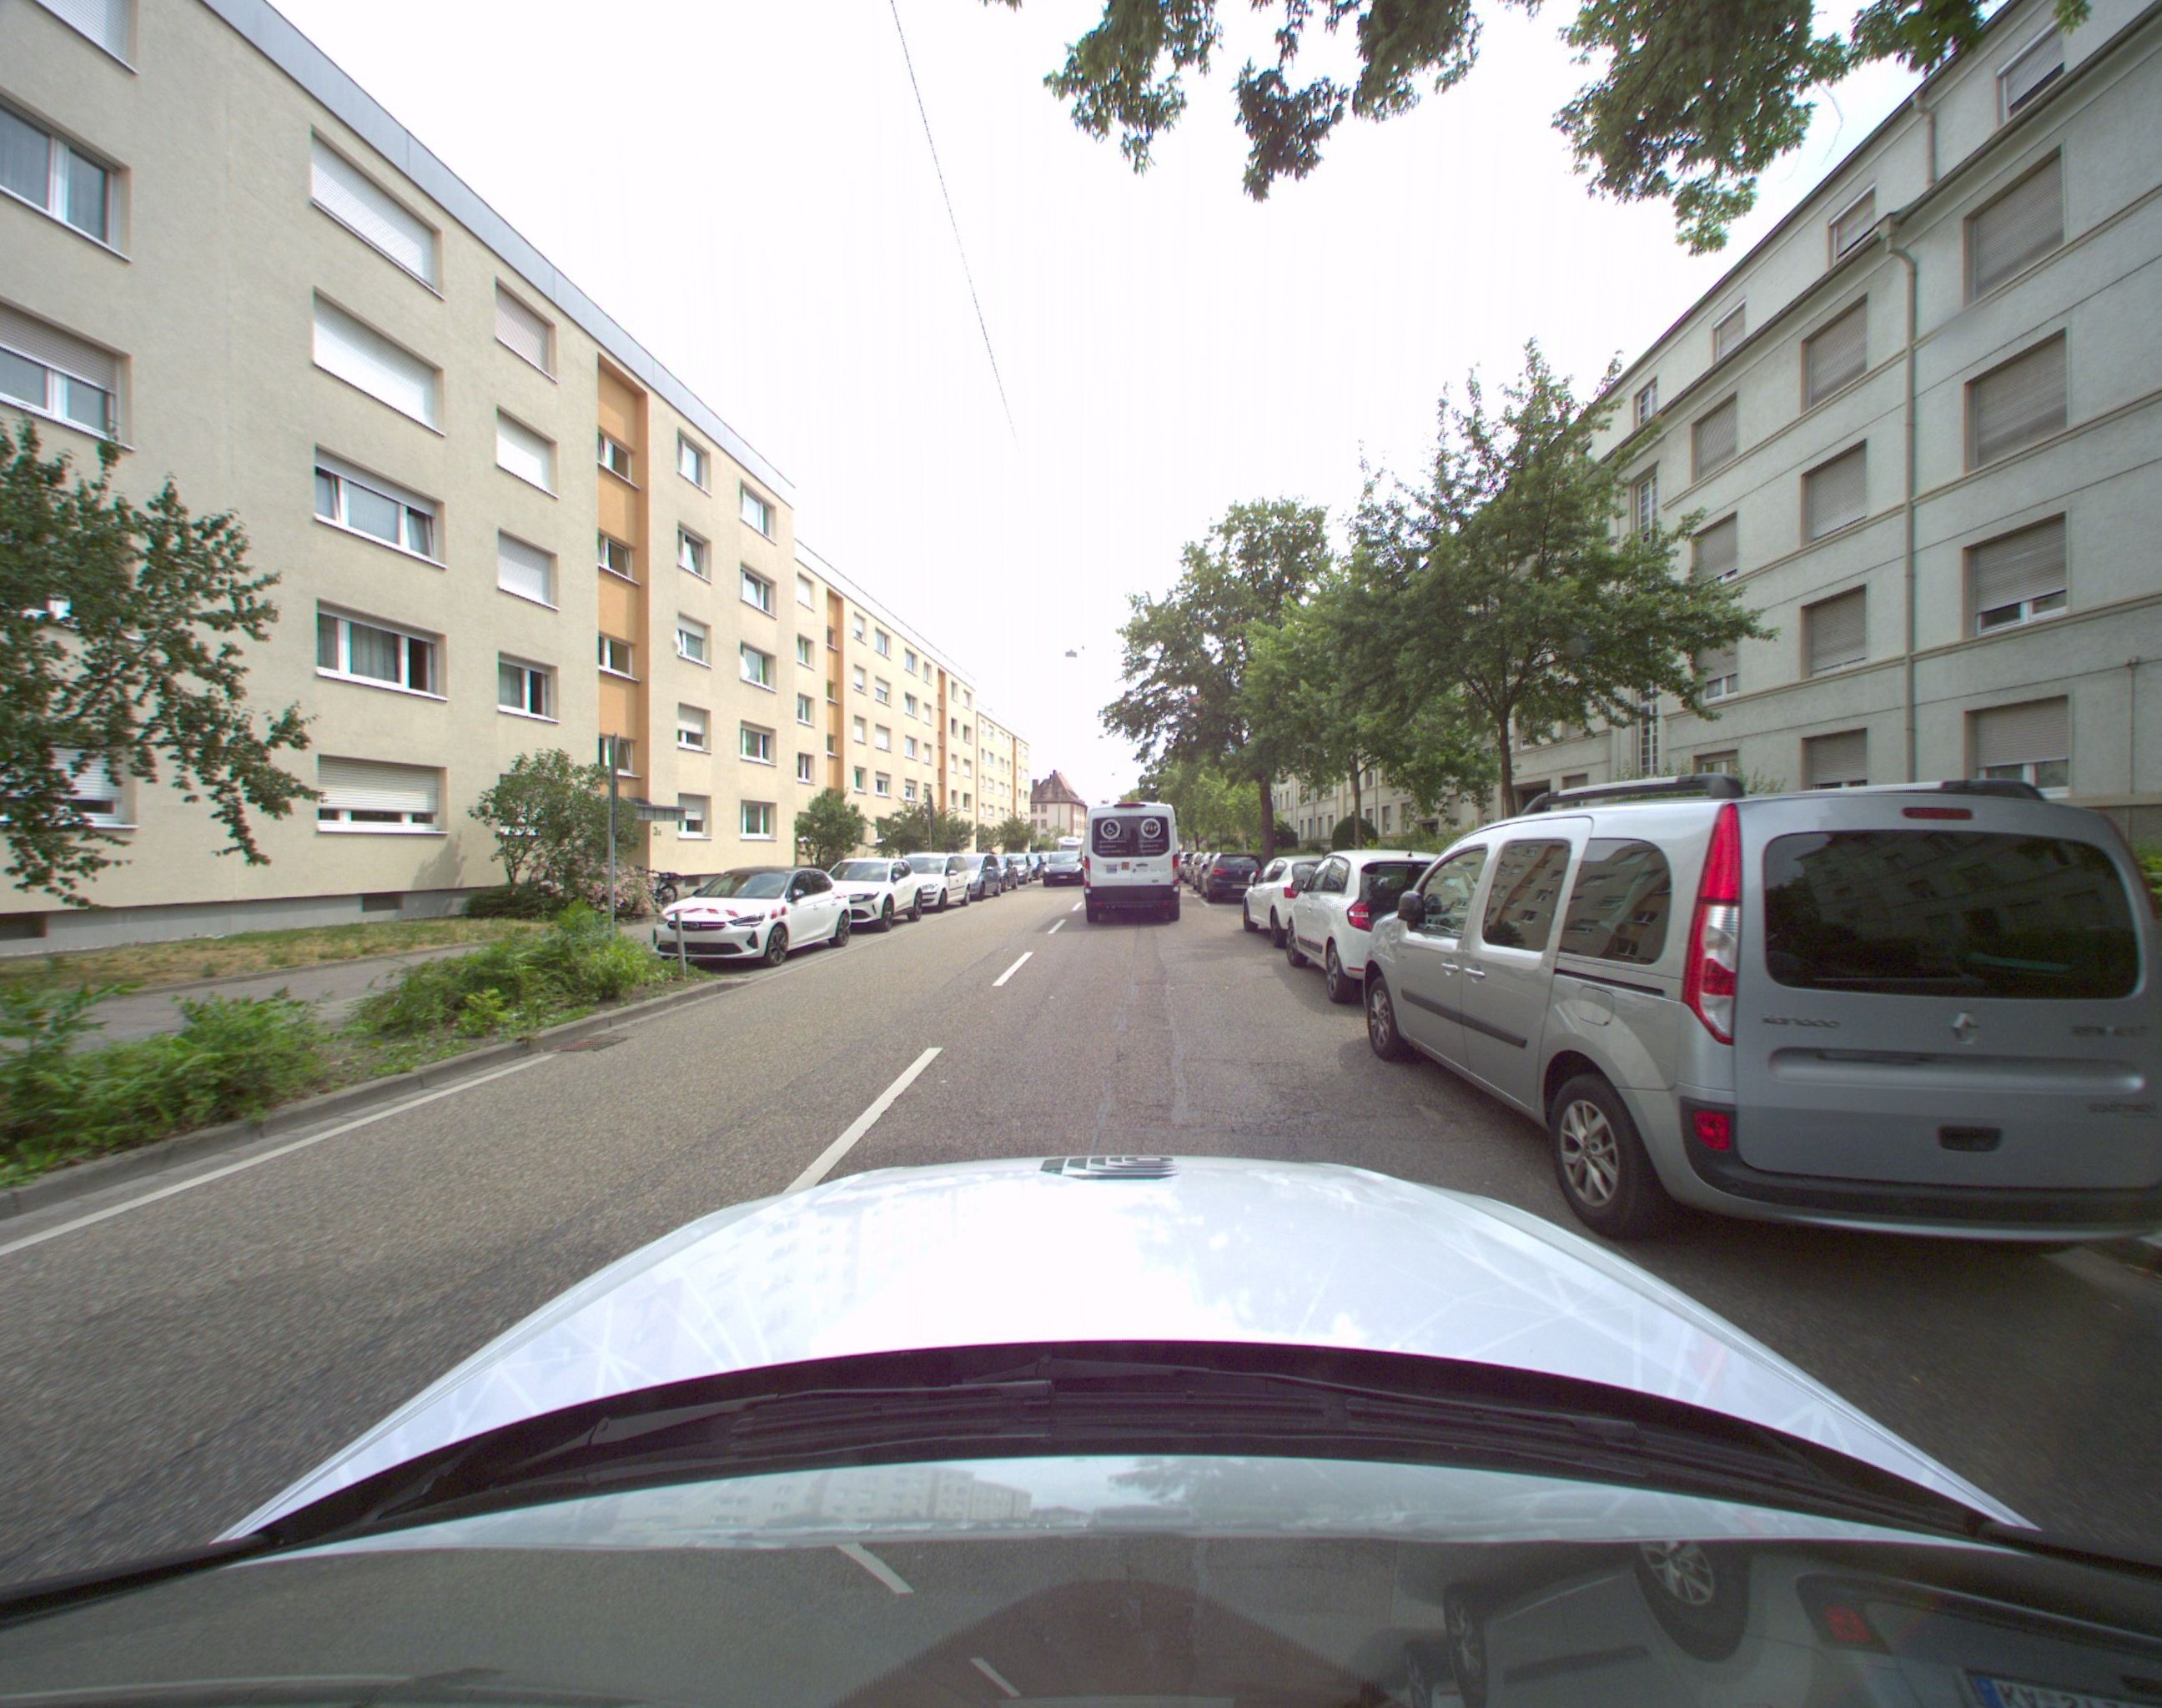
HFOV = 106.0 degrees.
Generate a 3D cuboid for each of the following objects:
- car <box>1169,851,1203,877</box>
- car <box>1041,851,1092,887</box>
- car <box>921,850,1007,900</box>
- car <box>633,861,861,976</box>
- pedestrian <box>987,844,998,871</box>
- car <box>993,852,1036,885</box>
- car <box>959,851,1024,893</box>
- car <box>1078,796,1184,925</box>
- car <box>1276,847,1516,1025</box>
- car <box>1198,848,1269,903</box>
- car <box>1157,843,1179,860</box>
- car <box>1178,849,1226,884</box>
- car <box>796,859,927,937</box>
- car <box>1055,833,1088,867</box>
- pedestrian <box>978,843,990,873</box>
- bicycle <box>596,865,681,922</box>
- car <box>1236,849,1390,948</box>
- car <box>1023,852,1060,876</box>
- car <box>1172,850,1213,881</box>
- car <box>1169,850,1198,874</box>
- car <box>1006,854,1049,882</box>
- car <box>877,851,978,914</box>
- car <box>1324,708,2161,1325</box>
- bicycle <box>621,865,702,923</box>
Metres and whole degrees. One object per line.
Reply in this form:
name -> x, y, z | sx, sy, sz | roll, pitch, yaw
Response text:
car -> 6.150, 0.572, 48.049 | 1.663, 1.400, 3.855 | 2, 1, 3
car -> -0.623, 0.654, 38.615 | 1.942, 1.521, 4.619 | -3, 0, 4
car -> -4.088, 0.671, 29.401 | 1.933, 1.612, 4.869 | 1, 1, 5
car -> -5.140, 0.897, 13.180 | 1.700, 1.473, 3.995 | 1, 1, 5
pedestrian -> -6.026, 0.241, 55.514 | 0.617, 1.813, 0.804 | -1, 0, 1
car -> -3.376, 0.720, 41.941 | 1.663, 1.561, 3.855 | 1, 1, 3
car -> -3.726, 0.690, 34.592 | 1.933, 1.612, 4.307 | 1, 1, 4
car -> 1.095, 0.123, 18.654 | 2.062, 2.540, 4.637 | -1, 0, 2
car -> 3.380, 0.745, 9.485 | 1.597, 1.607, 3.810 | 1, 1, 5
car -> 4.501, 0.567, 24.535 | 1.689, 1.469, 4.106 | 1, 1, 5
car -> 9.425, -0.280, 88.602 | 1.920, 1.661, 5.327 | 2, 1, 2
car -> 5.488, 0.525, 37.380 | 1.690, 1.469, 4.757 | 1, 1, 3
car -> -4.810, 0.894, 18.428 | 1.702, 1.473, 3.991 | 1, 1, 2
car -> -0.799, -0.403, 76.388 | 2.500, 3.024, 7.403 | 1, 1, 3
pedestrian -> -5.948, 0.225, 49.973 | 0.617, 1.813, 0.899 | 1, 0, 1
bicycle -> -10.781, 0.933, 19.941 | 0.532, 1.251, 2.053 | -1, 1, 14
car -> 3.857, 0.659, 14.256 | 1.690, 1.449, 4.104 | 0, 1, 2
car -> -2.512, 0.616, 52.609 | 1.809, 1.483, 4.122 | 1, 1, 5
car -> 5.791, 0.551, 42.768 | 1.690, 1.469, 4.722 | 1, 1, 3
car -> 6.638, 0.477, 52.797 | 1.770, 1.469, 4.623 | 1, 1, 7
car -> -3.034, 0.757, 46.906 | 1.809, 1.483, 3.891 | 1, 1, 6
car -> -4.391, 0.746, 23.997 | 1.689, 1.612, 4.484 | 1, 1, 6
car -> 2.960, 0.467, 4.932 | 1.908, 1.865, 4.853 | 1, 1, 5
bicycle -> -10.124, 0.931, 19.752 | 0.574, 1.251, 1.941 | 0, 1, 14
